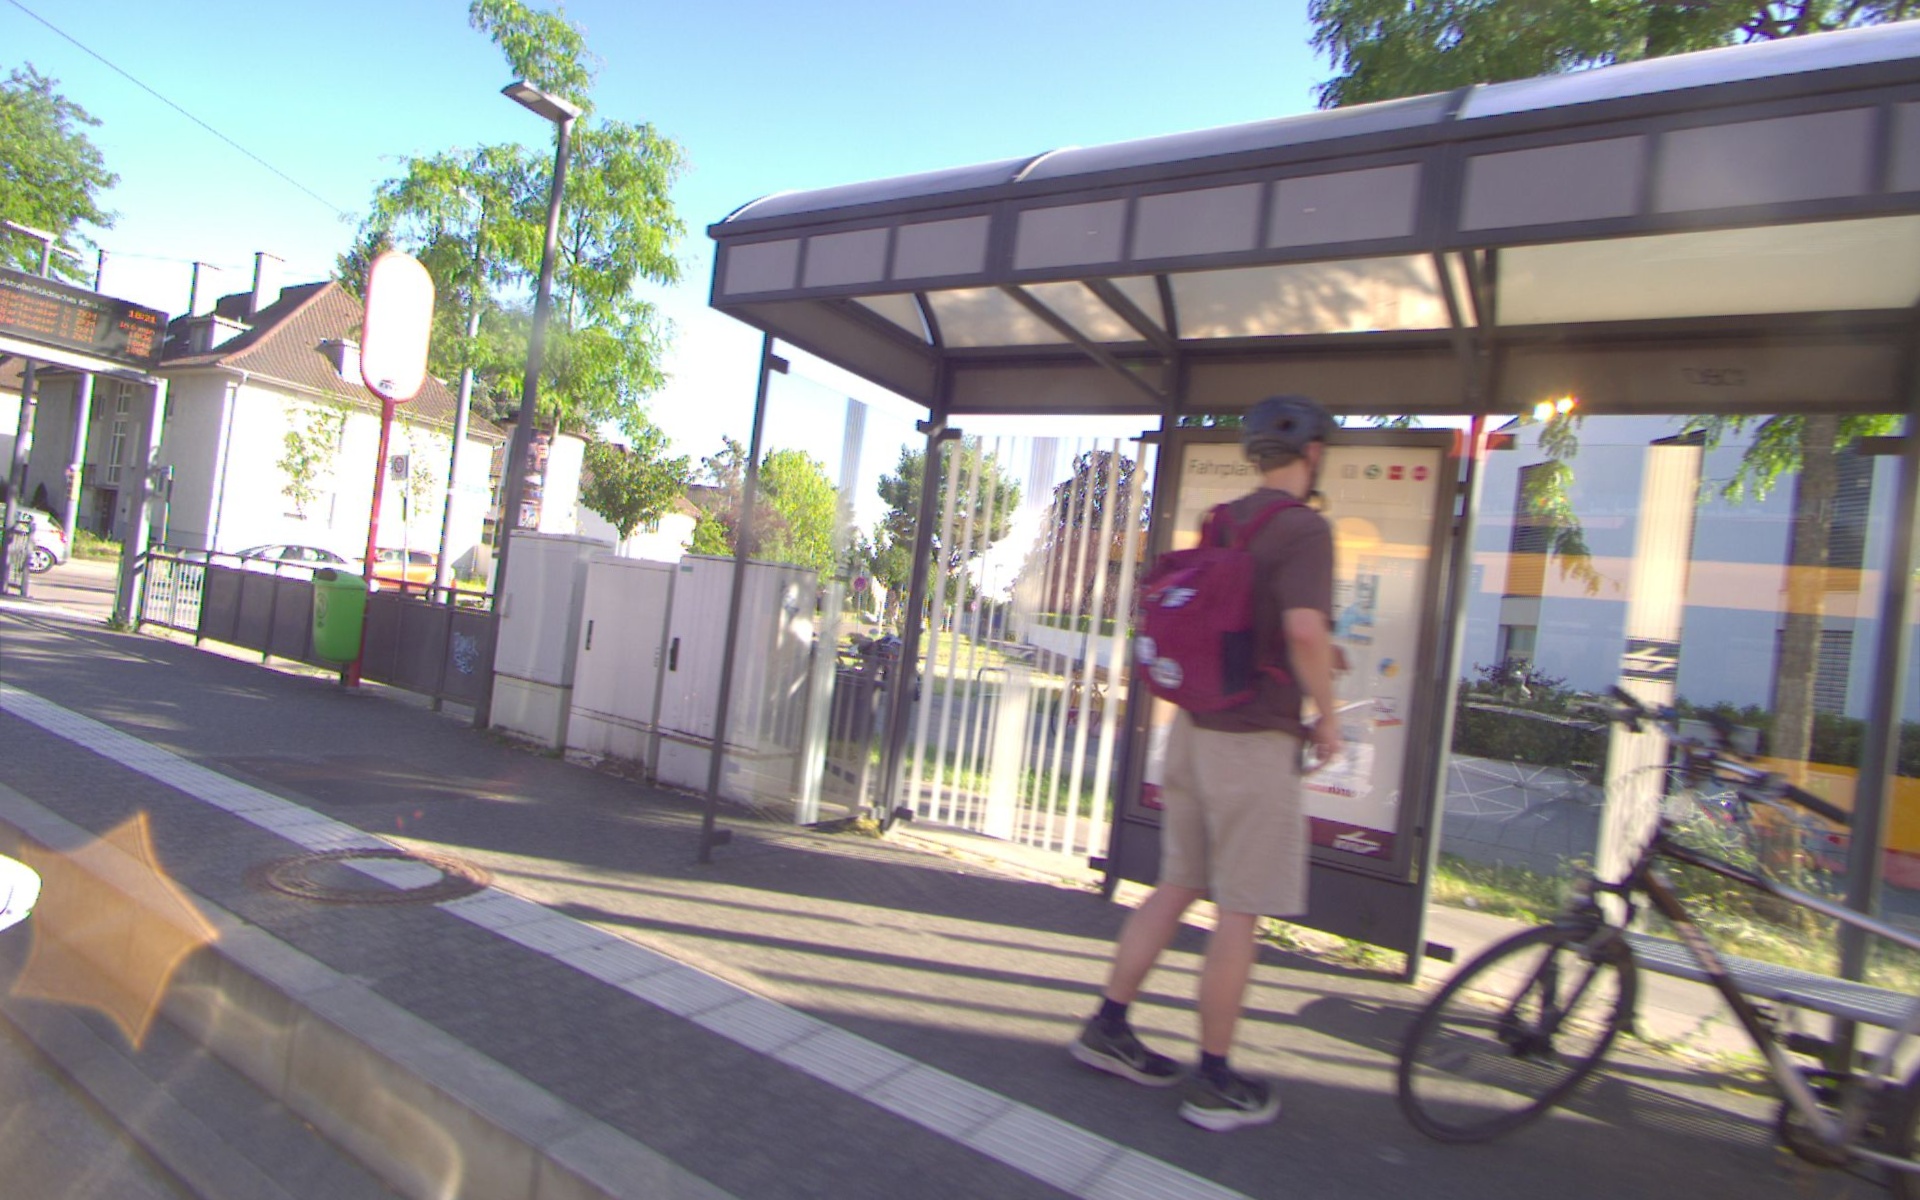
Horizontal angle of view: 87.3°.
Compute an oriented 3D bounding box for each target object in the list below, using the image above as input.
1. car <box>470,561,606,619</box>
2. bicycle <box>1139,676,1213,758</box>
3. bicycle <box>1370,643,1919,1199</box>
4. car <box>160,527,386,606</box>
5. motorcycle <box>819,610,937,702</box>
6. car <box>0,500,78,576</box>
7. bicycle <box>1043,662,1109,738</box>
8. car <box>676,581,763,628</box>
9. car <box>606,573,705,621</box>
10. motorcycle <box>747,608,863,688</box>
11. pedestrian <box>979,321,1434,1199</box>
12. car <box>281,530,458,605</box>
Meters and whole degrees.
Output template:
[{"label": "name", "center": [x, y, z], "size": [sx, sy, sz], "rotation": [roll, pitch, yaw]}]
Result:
[{"label": "car", "center": [-15.144, -0.335, 36.355], "size": [1.947, 1.525, 4.175], "rotation": [7, -2, 26]}, {"label": "bicycle", "center": [3.001, 1.575, 13.862], "size": [0.482, 0.990, 1.903], "rotation": [7, -1, 25]}, {"label": "bicycle", "center": [2.021, 0.845, 2.174], "size": [1.933, 1.244, 0.621], "rotation": [7, -1, 28]}, {"label": "car", "center": [-18.150, -0.855, 26.734], "size": [1.957, 1.483, 4.594], "rotation": [4, -3, 43]}, {"label": "motorcycle", "center": [-1.269, 0.919, 16.175], "size": [0.847, 1.289, 2.083], "rotation": [7, -1, 25]}, {"label": "car", "center": [-22.616, -1.610, 22.534], "size": [1.954, 1.525, 3.983], "rotation": [6, -2, 41]}, {"label": "bicycle", "center": [1.689, 1.417, 14.484], "size": [0.408, 0.990, 1.474], "rotation": [7, -1, 25]}, {"label": "car", "center": [-11.150, 0.244, 46.939], "size": [1.962, 1.591, 4.006], "rotation": [8, -3, 18]}, {"label": "car", "center": [-12.698, -0.077, 42.221], "size": [1.944, 1.525, 4.181], "rotation": [7, -2, 15]}, {"label": "motorcycle", "center": [-2.573, 0.829, 16.965], "size": [0.847, 1.171, 2.004], "rotation": [7, -1, 25]}, {"label": "pedestrian", "center": [0.656, 0.357, 2.569], "size": [0.717, 1.874, 0.712], "rotation": [7, -2, 33]}, {"label": "car", "center": [-18.006, -0.957, 30.876], "size": [1.948, 1.661, 4.172], "rotation": [7, -2, 30]}]
